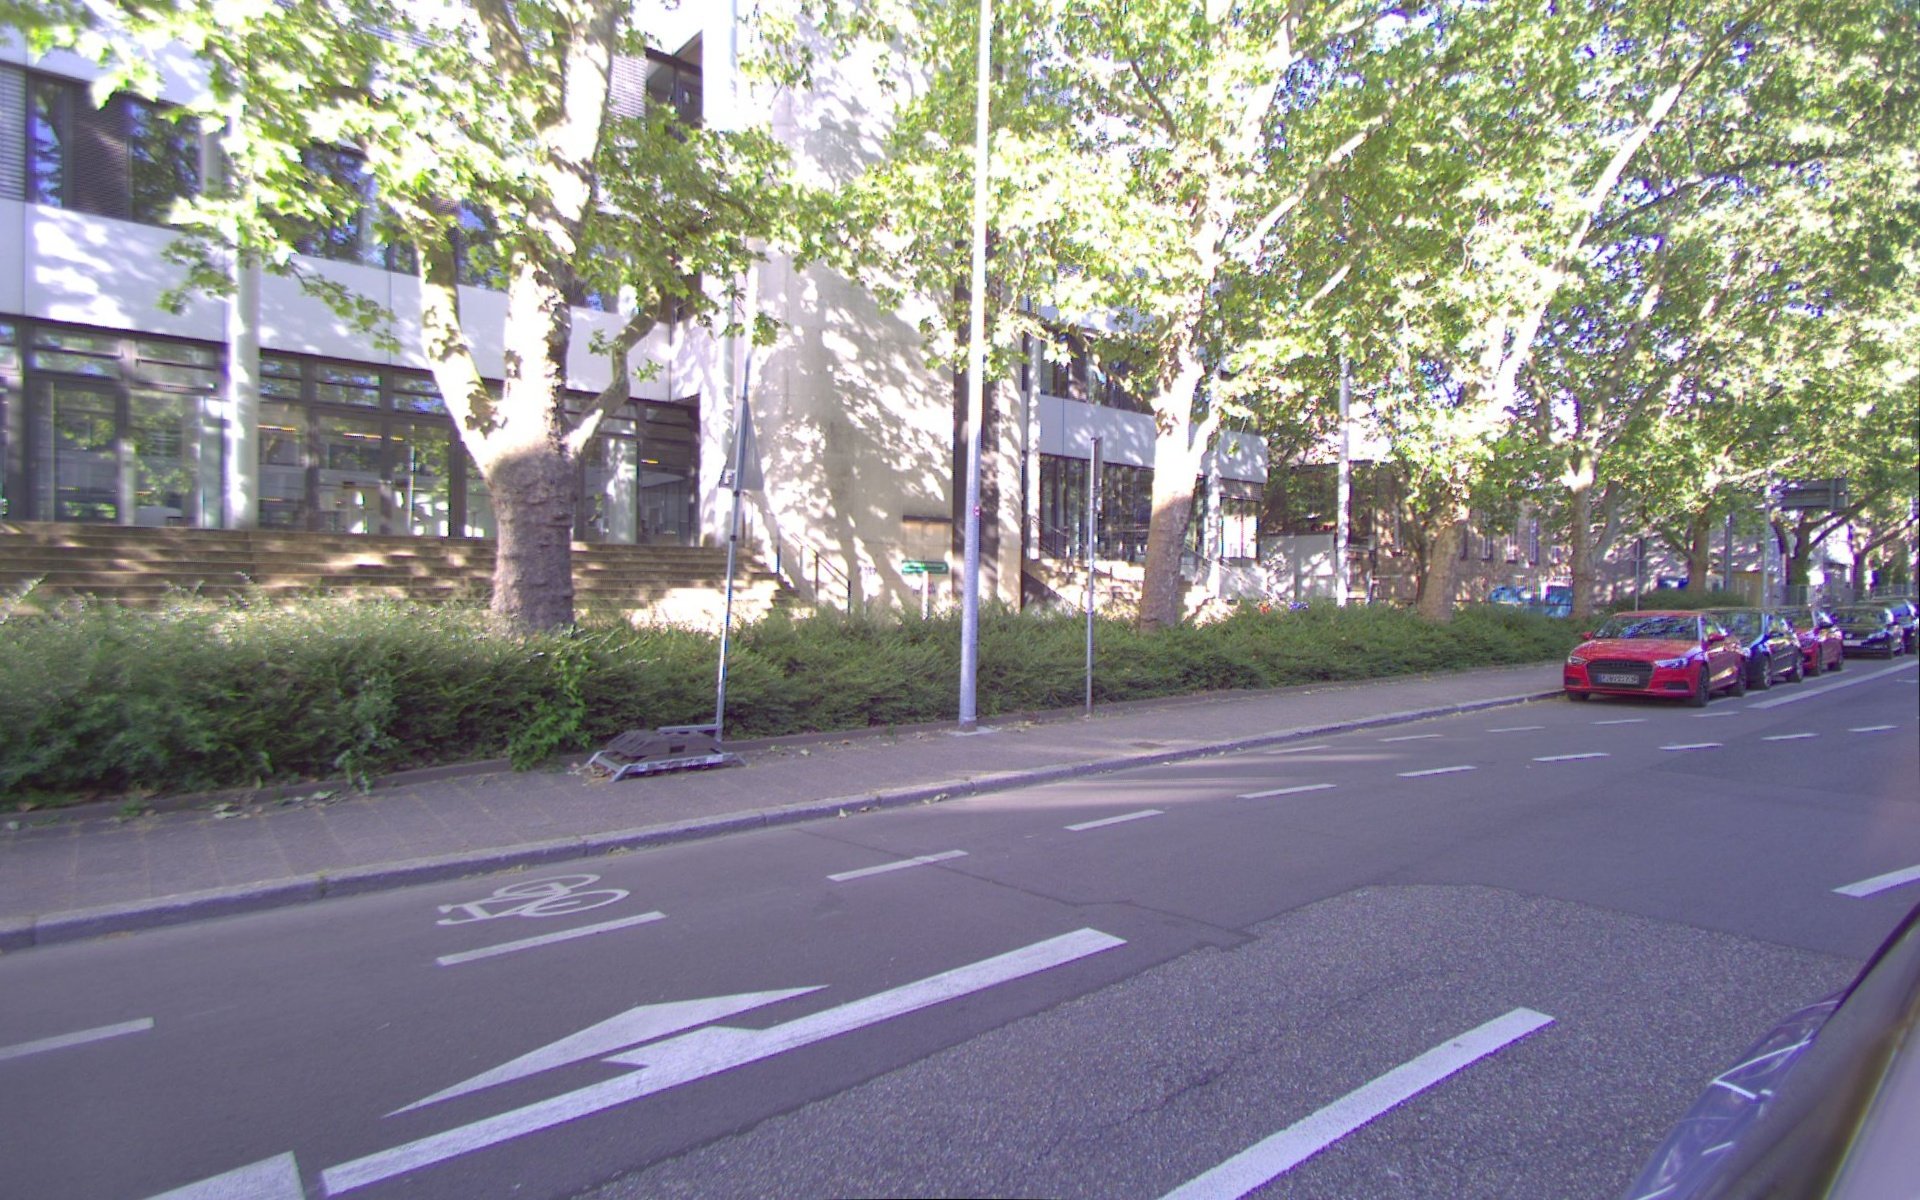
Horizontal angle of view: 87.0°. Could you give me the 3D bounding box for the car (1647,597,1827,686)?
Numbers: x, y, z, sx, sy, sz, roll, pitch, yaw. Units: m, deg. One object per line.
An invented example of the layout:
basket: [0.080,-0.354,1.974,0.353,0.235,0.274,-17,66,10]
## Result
car: [14.756,0.694,19.125,4.403,1.469,1.865,0,0,-41]

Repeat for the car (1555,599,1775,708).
car: [11.308,0.740,16.125,4.403,1.469,1.865,0,0,-41]

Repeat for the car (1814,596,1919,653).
car: [25.780,0.622,28.596,4.403,1.469,1.865,0,0,-41]

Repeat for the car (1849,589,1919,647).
car: [29.560,0.515,31.790,4.403,1.689,1.865,0,0,-41]

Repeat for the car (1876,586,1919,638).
car: [33.898,0.396,35.680,4.403,1.781,1.865,0,0,-41]

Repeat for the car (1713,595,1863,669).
car: [18.424,0.638,22.463,4.403,1.469,1.865,0,0,-41]

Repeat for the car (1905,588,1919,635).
car: [38.865,0.445,39.950,4.403,1.781,1.865,0,0,-41]
